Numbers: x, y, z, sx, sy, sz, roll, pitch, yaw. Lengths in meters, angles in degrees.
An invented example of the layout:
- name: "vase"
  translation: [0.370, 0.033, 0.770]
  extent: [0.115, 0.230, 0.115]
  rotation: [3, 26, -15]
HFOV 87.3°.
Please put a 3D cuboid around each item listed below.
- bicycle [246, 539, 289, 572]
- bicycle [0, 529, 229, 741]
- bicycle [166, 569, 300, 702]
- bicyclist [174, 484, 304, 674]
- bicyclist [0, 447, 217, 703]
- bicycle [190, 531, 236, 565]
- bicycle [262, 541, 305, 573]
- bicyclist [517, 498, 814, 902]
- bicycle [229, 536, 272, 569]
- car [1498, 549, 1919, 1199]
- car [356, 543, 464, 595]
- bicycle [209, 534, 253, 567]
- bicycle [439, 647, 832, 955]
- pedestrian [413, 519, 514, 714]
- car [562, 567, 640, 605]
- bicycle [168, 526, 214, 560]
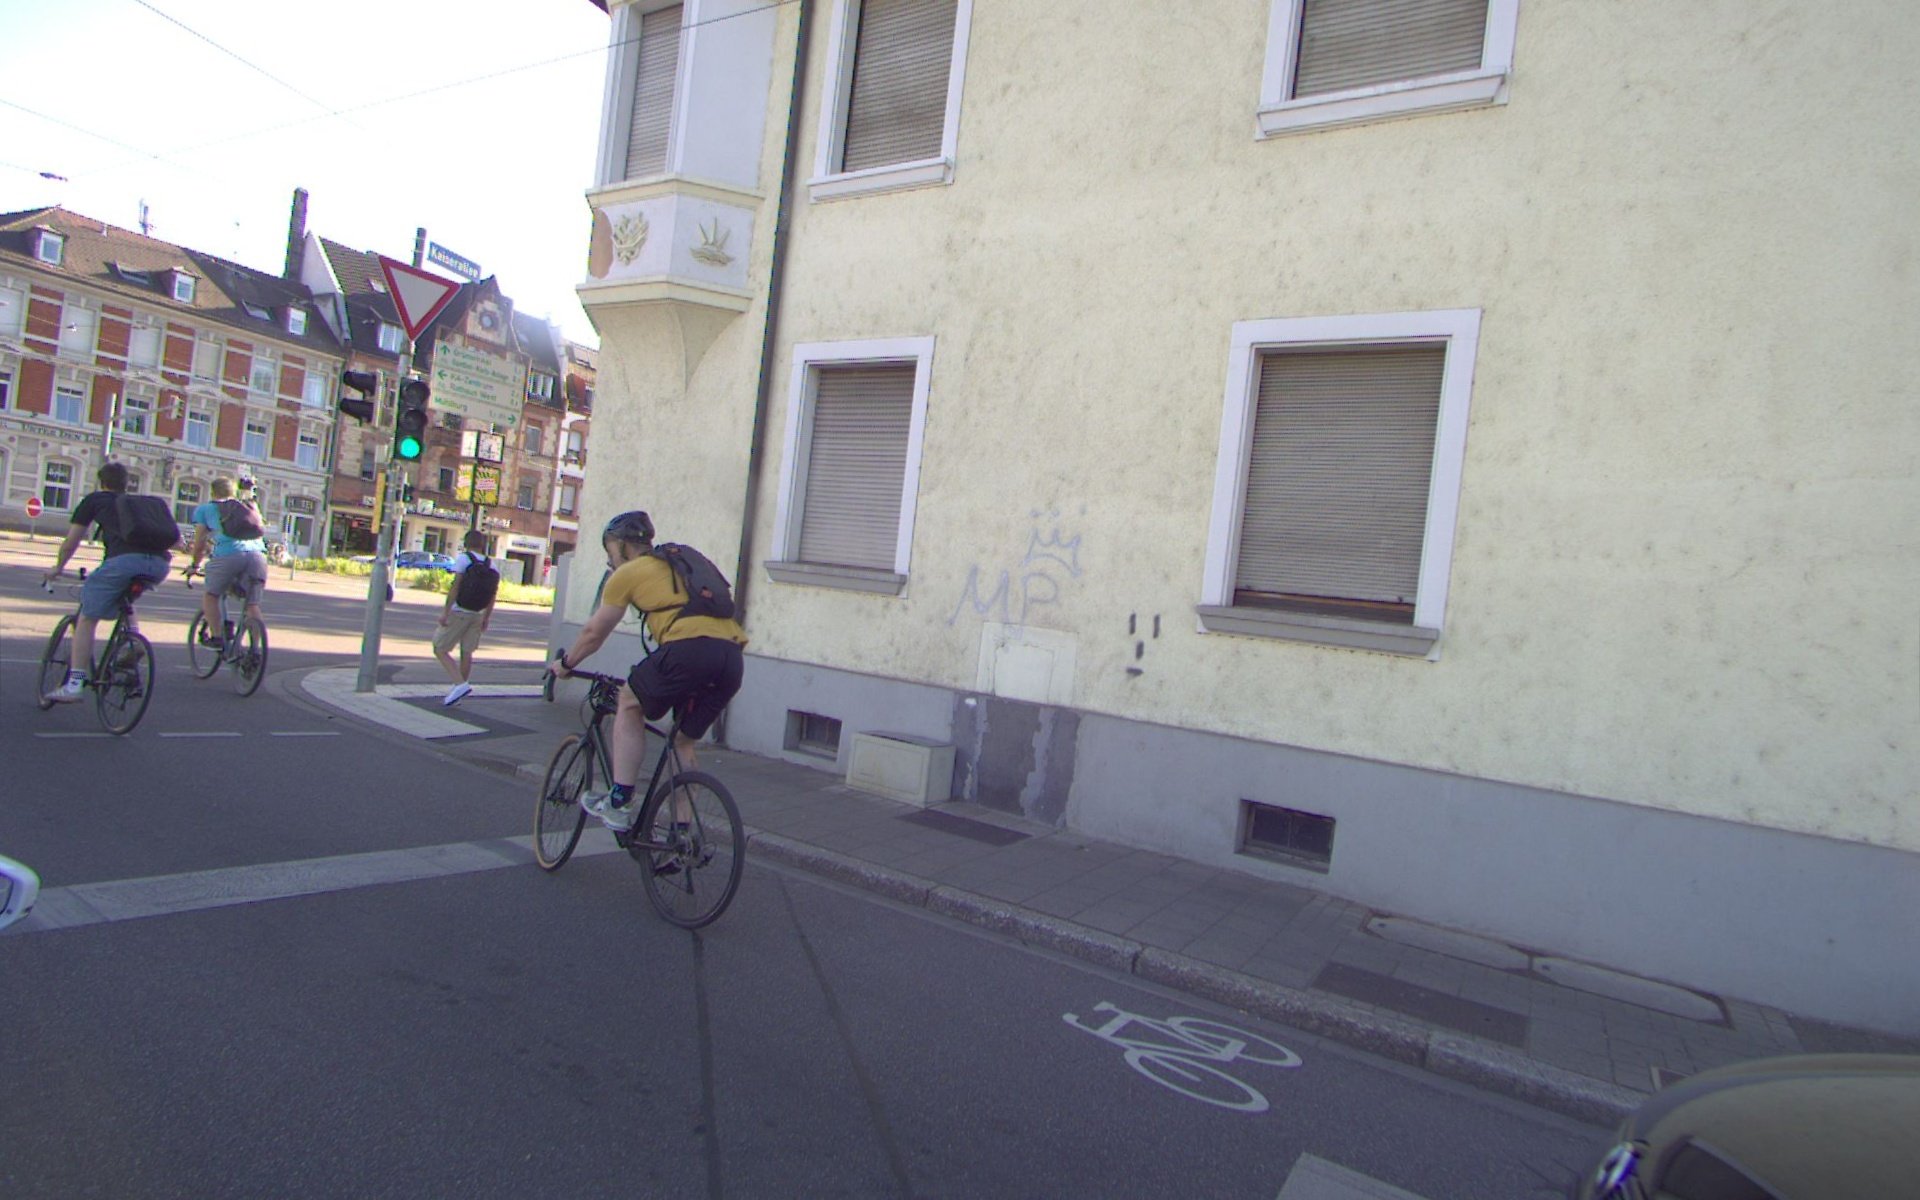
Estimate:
- name: "bicycle"
  translation: [-33.058, -2.136, 47.994]
  extent: [2.618, 1.301, 0.629]
  rotation: [6, -1, 33]
- name: "bicycle"
  translation: [-6.054, 0.225, 7.077]
  extent: [1.674, 1.251, 0.756]
  rotation: [6, -1, 30]
- name: "bicycle"
  translation: [-6.843, 0.308, 9.433]
  extent: [1.748, 1.043, 0.648]
  rotation: [6, -2, 45]
- name: "bicyclist"
  translation: [-6.793, -0.195, 9.471]
  extent: [0.872, 1.652, 0.688]
  rotation: [6, -1, 44]
- name: "bicyclist"
  translation: [-5.937, -0.160, 6.988]
  extent: [0.868, 1.625, 0.807]
  rotation: [7, -1, 30]
- name: "bicycle"
  translation: [-34.205, -2.381, 46.068]
  extent: [2.618, 1.301, 0.693]
  rotation: [6, -1, 33]
- name: "bicycle"
  translation: [-32.688, -2.064, 48.583]
  extent: [2.618, 1.301, 0.629]
  rotation: [6, -1, 33]
- name: "bicyclist"
  translation: [-1.394, 0.438, 4.825]
  extent: [0.869, 1.682, 0.807]
  rotation: [6, -1, 32]
- name: "bicycle"
  translation: [-33.422, -2.225, 47.364]
  extent: [2.618, 1.301, 0.629]
  rotation: [6, -1, 33]
- name: "car"
  translation: [2.795, 1.030, 0.911]
  extent: [3.983, 1.525, 1.732]
  rotation: [9, -1, 32]
- name: "car"
  translation: [-25.524, -1.422, 46.823]
  extent: [1.967, 1.798, 3.790]
  rotation: [6, -2, 31]
- name: "bicycle"
  translation: [-33.839, -2.309, 46.692]
  extent: [2.618, 1.301, 0.629]
  rotation: [6, -1, 33]
- name: "bicycle"
  translation: [-1.590, 0.868, 4.836]
  extent: [1.751, 1.043, 0.756]
  rotation: [6, -2, 33]
- name: "pedestrian"
  translation: [-4.763, 0.153, 9.678]
  extent: [0.631, 1.780, 0.584]
  rotation: [4, 3, -7]
- name: "car"
  translation: [-23.251, -0.876, 65.287]
  extent: [1.967, 1.798, 4.374]
  rotation: [6, -2, 31]
- name: "bicycle"
  translation: [-34.687, -2.575, 45.352]
  extent: [2.618, 1.301, 0.693]
  rotation: [6, -1, 33]
